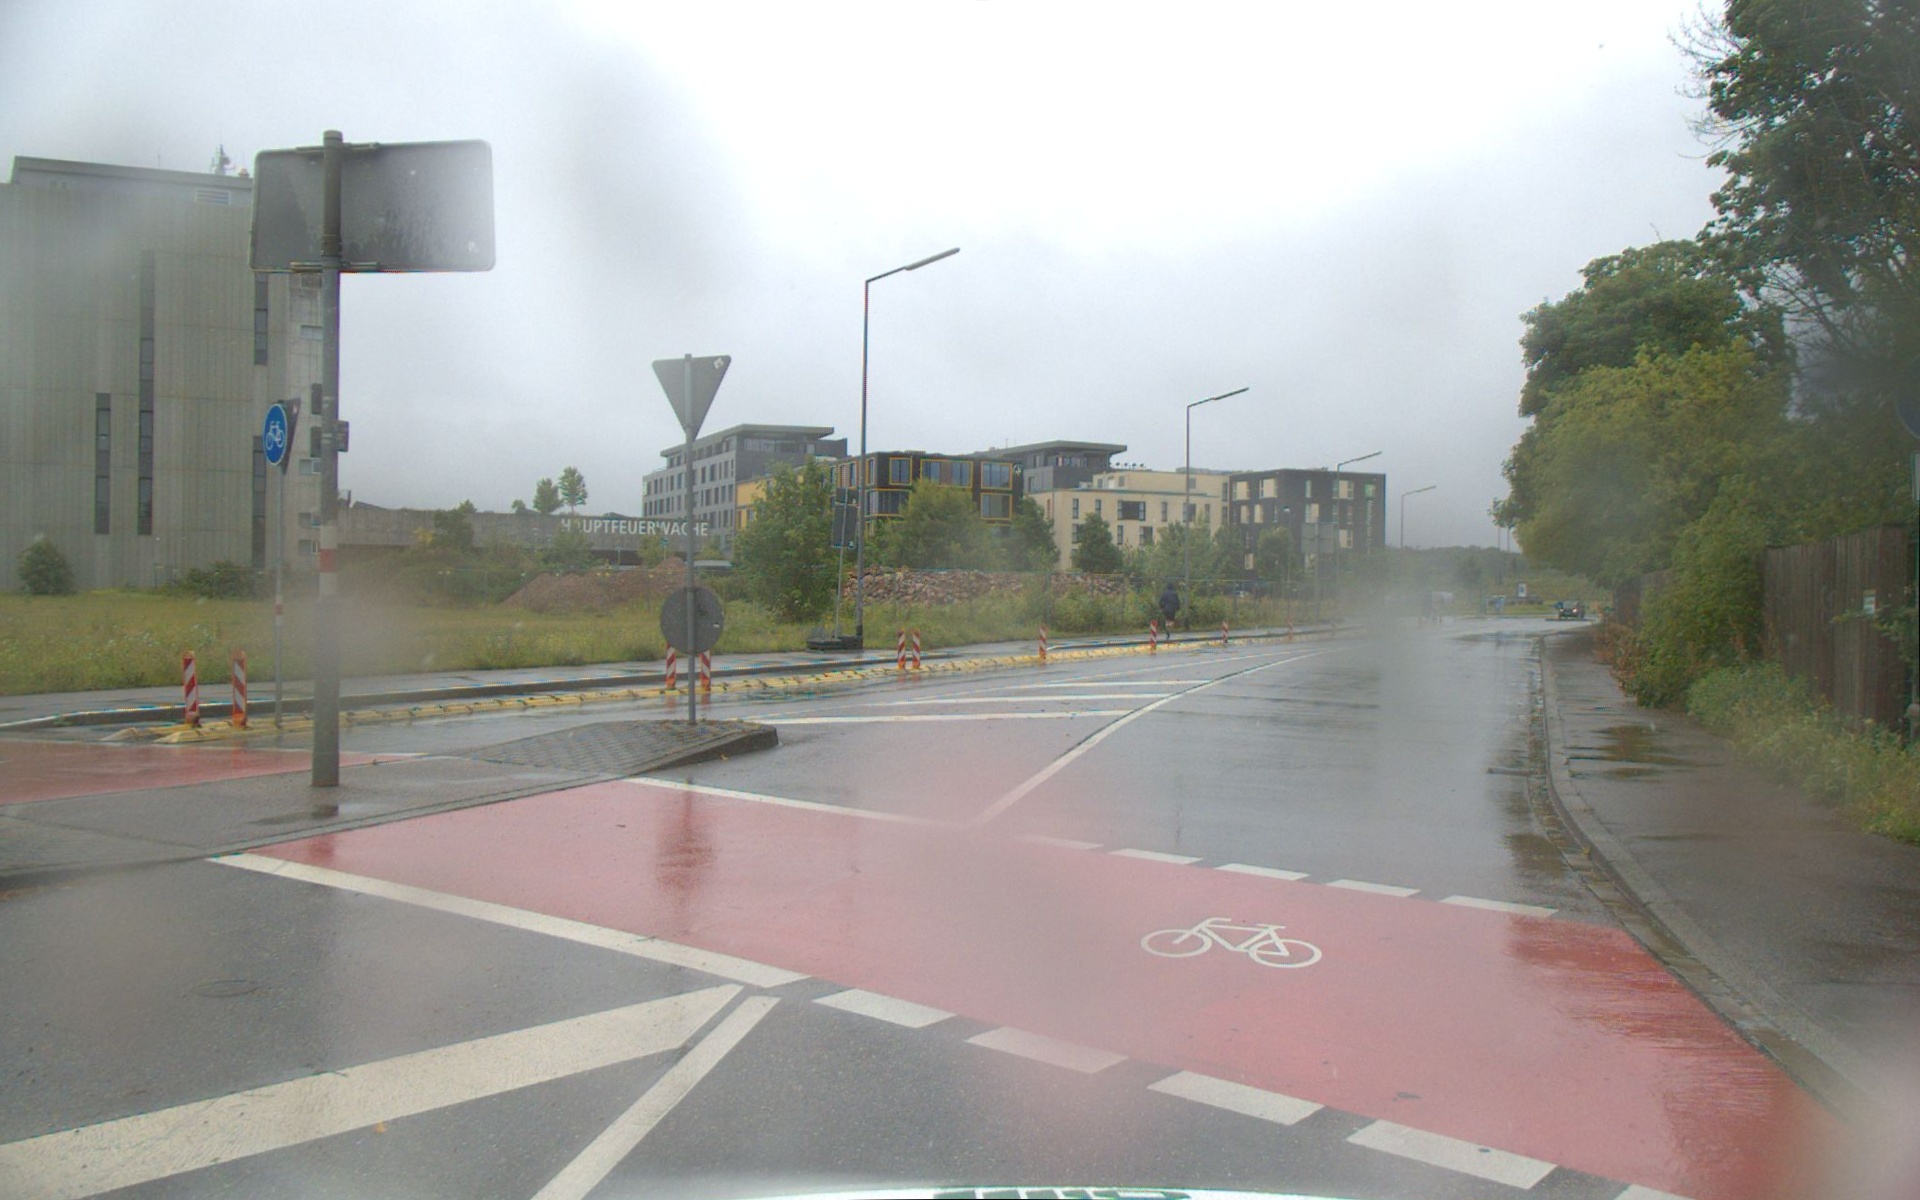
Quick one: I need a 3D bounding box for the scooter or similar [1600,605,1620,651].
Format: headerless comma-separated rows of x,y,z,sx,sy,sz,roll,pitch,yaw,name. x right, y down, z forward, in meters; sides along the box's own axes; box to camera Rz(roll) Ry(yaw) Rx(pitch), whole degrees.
17.897,0.764,45.552,0.481,1.256,1.370,1,0,21,scooter or similar

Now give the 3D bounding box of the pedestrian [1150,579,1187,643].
6.876,0.380,54.401,0.830,2.049,1.130,0,-3,27,pedestrian

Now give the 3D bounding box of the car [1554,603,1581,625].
51.555,1.217,140.314,1.953,1.803,3.998,1,0,23,car

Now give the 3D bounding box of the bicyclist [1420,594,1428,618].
28.346,0.369,101.013,0.434,1.428,0.550,1,-2,20,bicyclist

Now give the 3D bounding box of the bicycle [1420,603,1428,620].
28.331,0.701,100.960,0.418,1.037,1.612,1,0,18,bicycle
